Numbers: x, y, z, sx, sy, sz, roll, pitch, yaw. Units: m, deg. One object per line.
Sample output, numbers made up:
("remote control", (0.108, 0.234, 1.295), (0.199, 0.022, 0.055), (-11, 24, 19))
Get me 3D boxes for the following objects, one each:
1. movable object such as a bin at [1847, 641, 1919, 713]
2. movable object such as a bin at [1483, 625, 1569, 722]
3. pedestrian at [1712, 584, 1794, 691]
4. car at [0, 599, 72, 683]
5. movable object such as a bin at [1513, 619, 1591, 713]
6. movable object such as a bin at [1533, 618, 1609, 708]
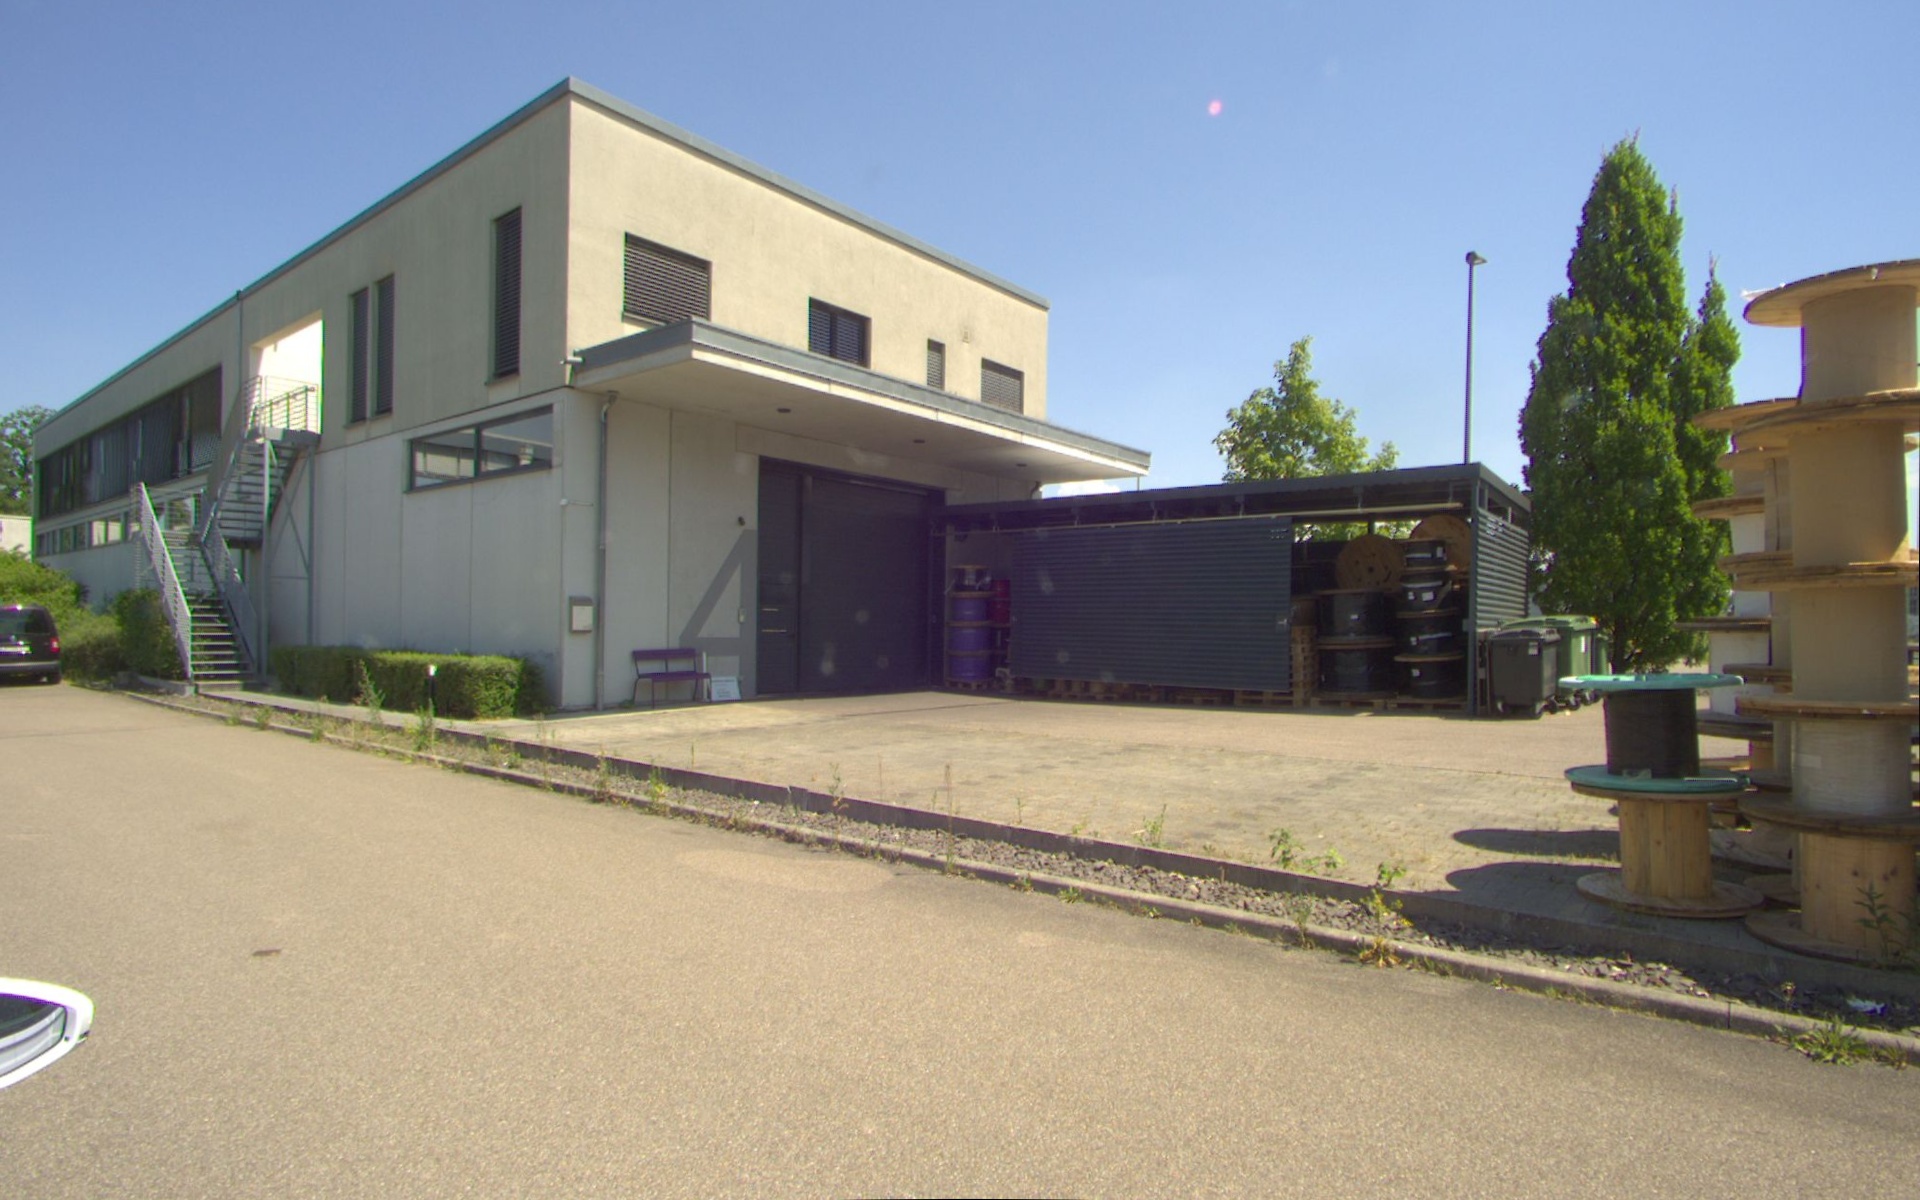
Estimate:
("movable object such as a bin", (12.507, 1.033, 13.549), (0.537, 0.929, 0.585), (-1, -1, 15))
("movable object such as a bin", (7.783, 0.986, 13.778), (0.867, 1.266, 0.794), (0, -1, -43))
("pedestrian", (13.697, 0.633, 17.314), (0.794, 1.792, 0.768), (-1, 1, -8))
("car", (-22.576, 0.922, 23.693), (3.951, 1.861, 1.736), (0, 0, 39))
("movable object such as a bin", (8.678, 0.952, 14.681), (0.748, 1.315, 0.794), (0, -1, -43))
("movable object such as a bin", (9.308, 0.947, 15.258), (0.802, 1.315, 0.794), (0, -1, -43))
